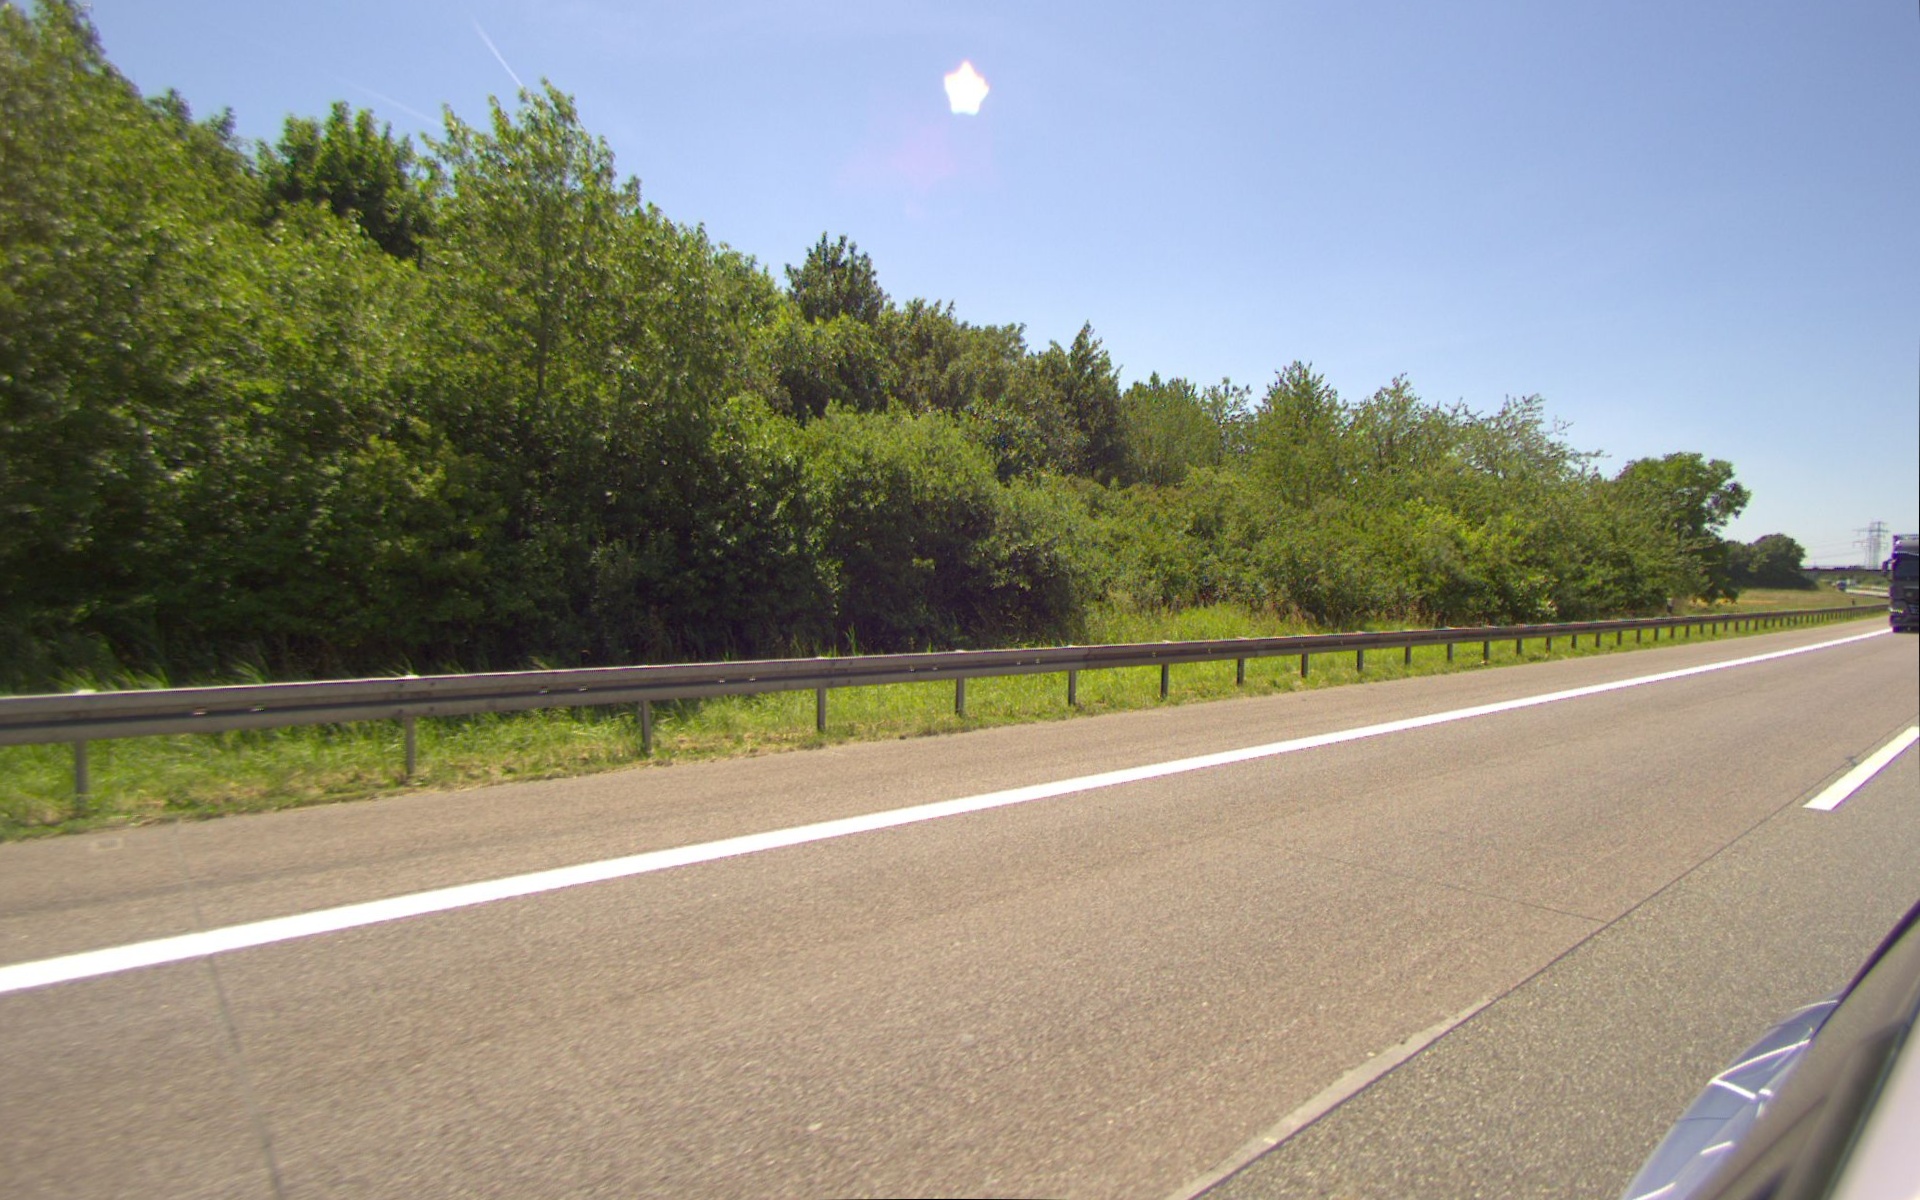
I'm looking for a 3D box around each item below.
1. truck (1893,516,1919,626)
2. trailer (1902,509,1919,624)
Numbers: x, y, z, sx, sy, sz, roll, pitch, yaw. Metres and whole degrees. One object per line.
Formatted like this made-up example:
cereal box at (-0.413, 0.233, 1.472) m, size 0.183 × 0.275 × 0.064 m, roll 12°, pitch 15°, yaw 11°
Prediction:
truck at (39.891, -1.167, 40.755) m, size 4.888 × 4.309 × 2.913 m, roll -1°, pitch 1°, yaw -41°
trailer at (45.230, -1.441, 45.392) m, size 13.742 × 4.715 × 2.906 m, roll -1°, pitch 1°, yaw -41°
